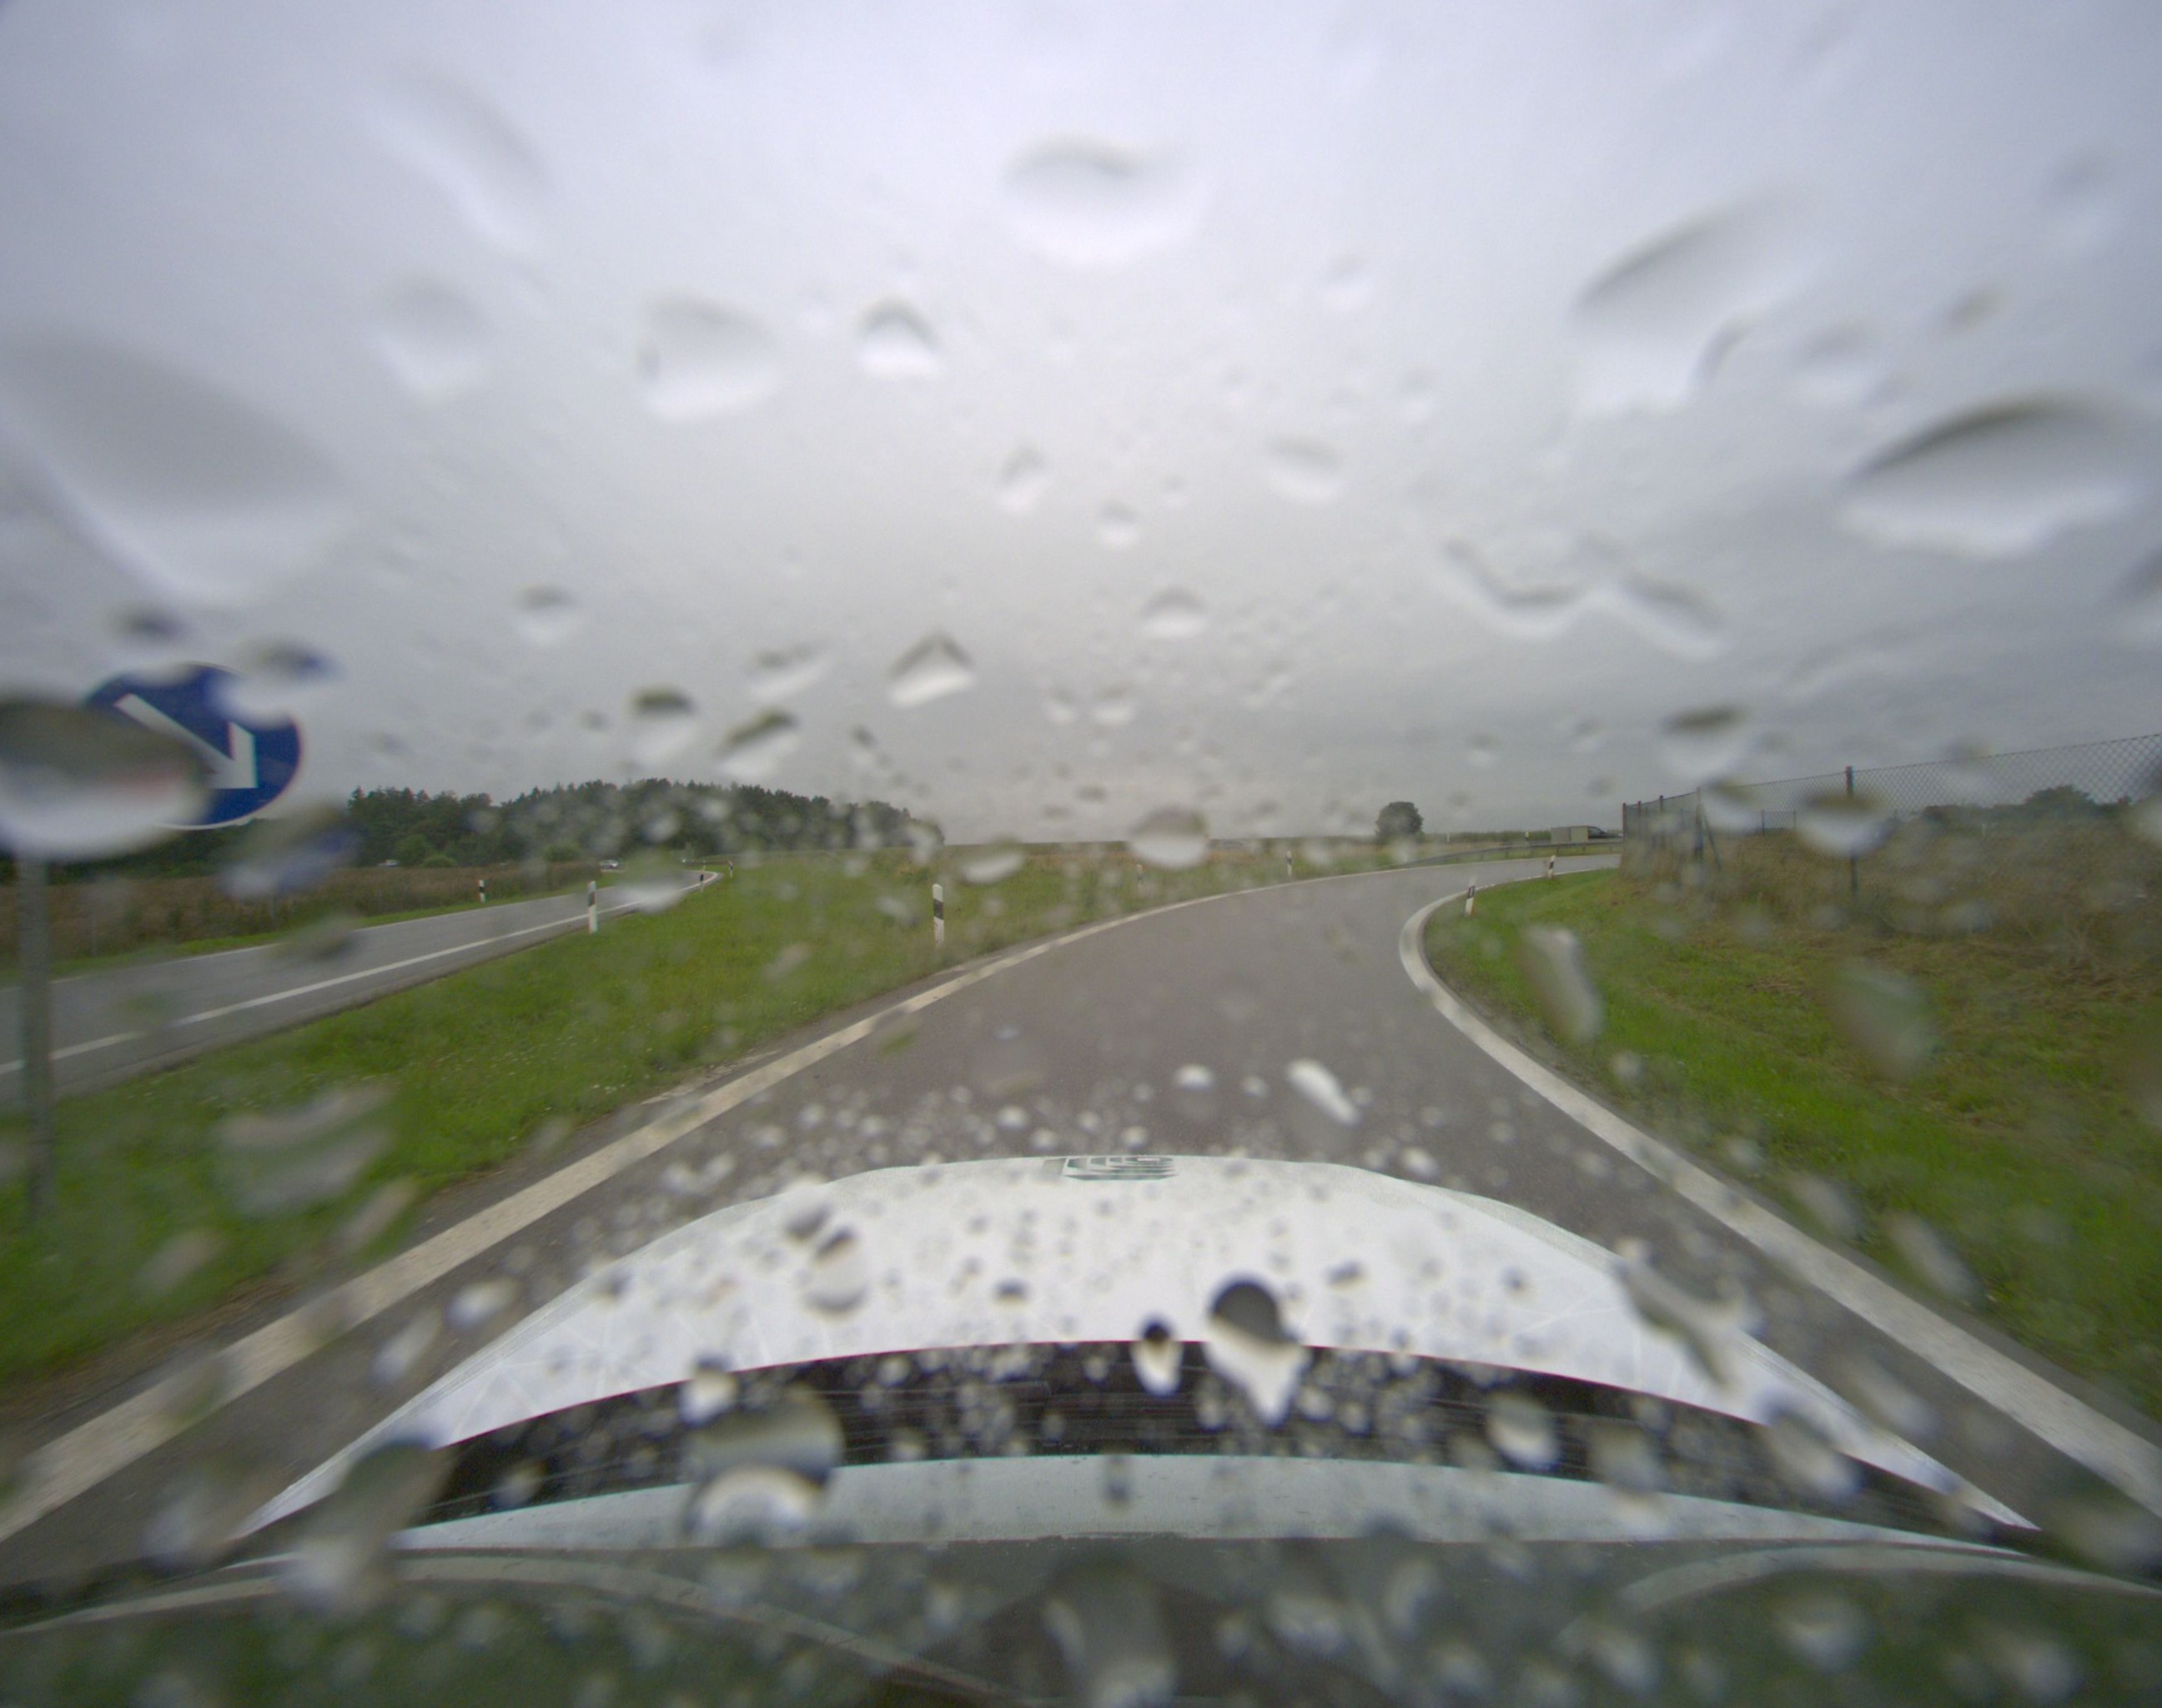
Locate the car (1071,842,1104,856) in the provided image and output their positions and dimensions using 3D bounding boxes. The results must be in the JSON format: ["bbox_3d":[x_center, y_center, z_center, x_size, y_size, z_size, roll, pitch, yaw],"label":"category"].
[{"bbox_3d":[0.833,-0.665,108.897,3.949,1.736,1.746,-2,1,28],"label":"car"}]

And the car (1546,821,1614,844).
[{"bbox_3d":[37.622,-1.603,61.512,4.293,1.636,2.073,-1,1,32],"label":"car"}]

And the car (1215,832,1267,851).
[{"bbox_3d":[14.907,-1.204,75.969,4.293,1.636,2.073,-1,1,32],"label":"car"}]
